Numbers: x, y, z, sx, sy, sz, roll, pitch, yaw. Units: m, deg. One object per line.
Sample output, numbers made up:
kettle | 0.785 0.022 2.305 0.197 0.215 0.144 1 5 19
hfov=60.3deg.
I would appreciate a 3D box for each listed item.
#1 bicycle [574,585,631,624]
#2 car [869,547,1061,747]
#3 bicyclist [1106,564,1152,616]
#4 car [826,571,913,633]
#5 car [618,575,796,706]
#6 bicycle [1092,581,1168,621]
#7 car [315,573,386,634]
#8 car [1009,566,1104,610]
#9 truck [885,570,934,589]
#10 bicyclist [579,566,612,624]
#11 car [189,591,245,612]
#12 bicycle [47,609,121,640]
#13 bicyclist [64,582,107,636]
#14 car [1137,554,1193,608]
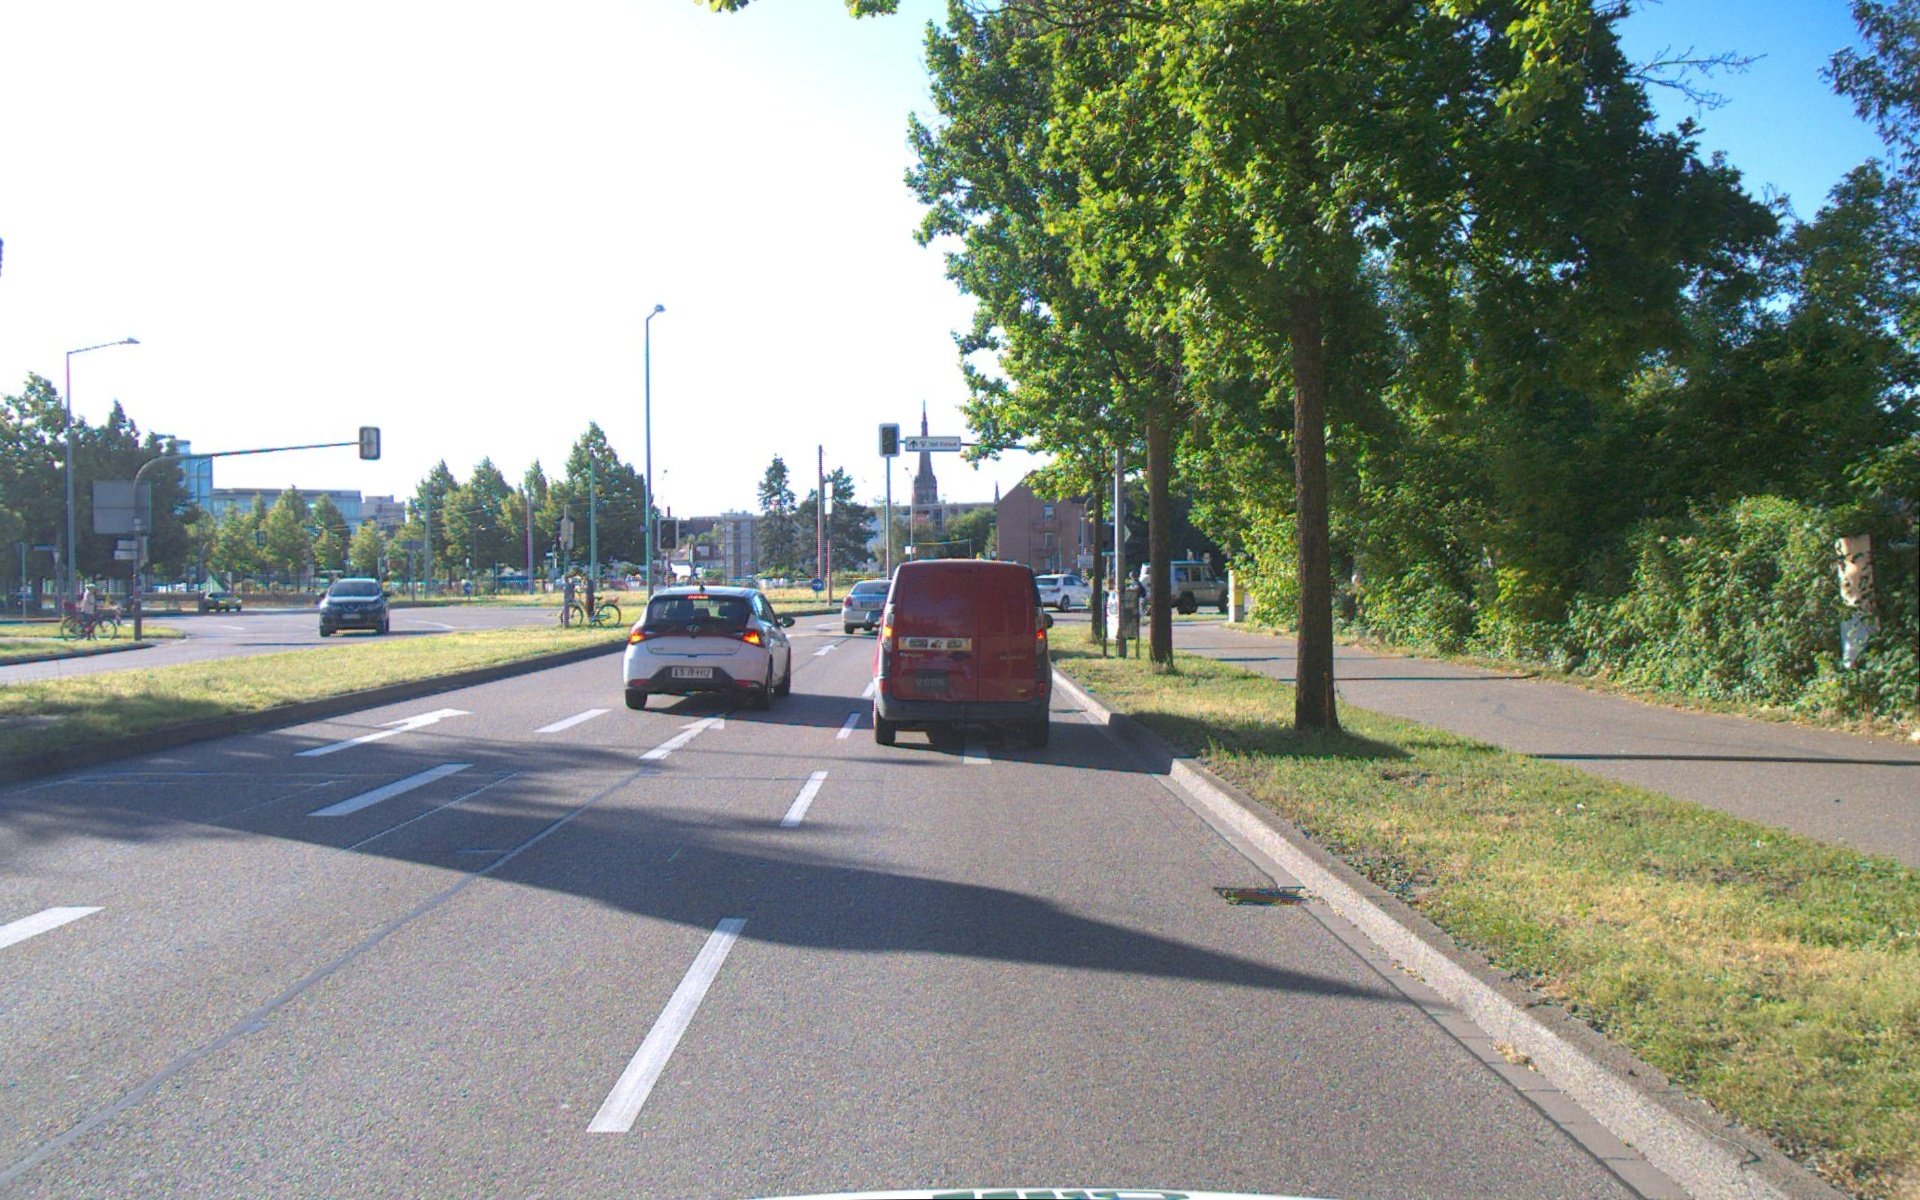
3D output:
bicycle | -10.526 0.136 48.708 1.620 1.148 0.703 0 0 -10
car | 0.058 0.418 17.359 1.765 1.845 3.810 1 1 0
bicyclist | 5.263 -0.304 51.541 1.070 1.589 0.870 -2 0 -24
car | -2.491 0.012 46.733 1.952 1.602 4.410 -1 1 3
car | -3.101 0.448 20.969 1.766 1.487 3.808 1 1 -2
bicycle | 5.291 0.031 51.554 2.181 1.175 0.870 -2 0 -24
car | -18.855 0.100 51.303 1.964 1.769 4.711 -1 0 -20
car | 3.923 -0.513 66.559 1.957 1.667 4.398 0 1 31
truck | -5.748 -2.305 188.274 2.150 2.049 6.345 1 0 -39
bicyclist | -10.719 -0.137 48.663 0.923 1.692 0.703 0 0 -10
car | -58.273 0.126 129.704 4.234 1.568 2.004 -1 1 33
bicycle | -25.619 0.725 48.378 1.843 0.867 0.618 -1 1 5
bicyclist | -25.574 0.252 48.371 0.903 1.543 0.618 -1 1 5
car | 7.662 -0.683 62.260 1.954 1.930 4.756 0 0 6
